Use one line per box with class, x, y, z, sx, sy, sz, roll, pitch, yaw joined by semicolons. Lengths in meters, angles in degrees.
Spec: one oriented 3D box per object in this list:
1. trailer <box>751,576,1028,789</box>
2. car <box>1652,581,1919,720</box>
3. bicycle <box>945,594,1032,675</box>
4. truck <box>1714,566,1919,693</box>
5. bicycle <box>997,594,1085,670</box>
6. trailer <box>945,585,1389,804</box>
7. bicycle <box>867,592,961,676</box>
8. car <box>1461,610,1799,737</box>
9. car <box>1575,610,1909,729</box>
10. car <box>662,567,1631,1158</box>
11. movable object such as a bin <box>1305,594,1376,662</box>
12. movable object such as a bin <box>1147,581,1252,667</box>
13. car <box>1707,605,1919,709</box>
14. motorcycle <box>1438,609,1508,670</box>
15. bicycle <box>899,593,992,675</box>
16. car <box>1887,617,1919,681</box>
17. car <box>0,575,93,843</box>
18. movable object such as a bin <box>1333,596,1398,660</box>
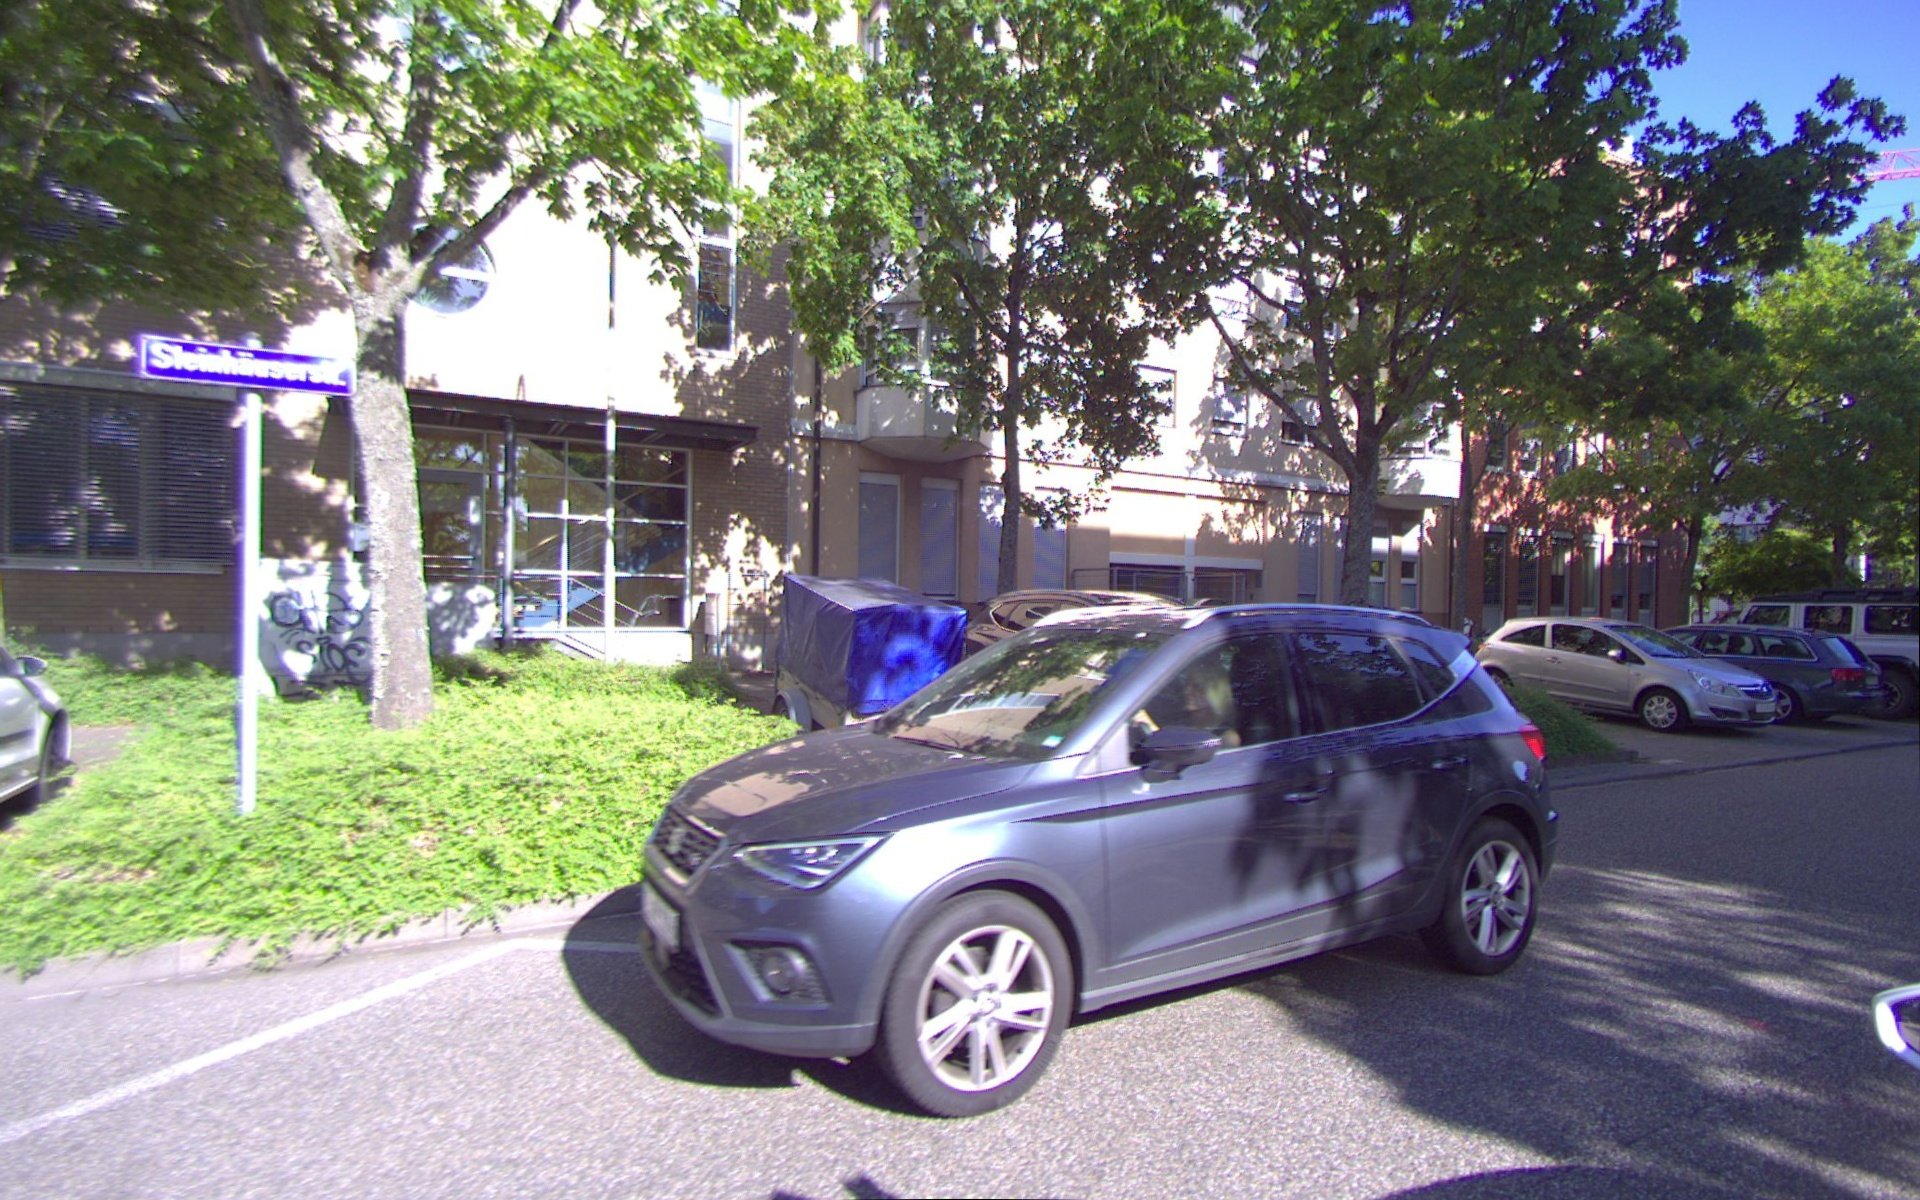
trailer;-0.794;0.657;9.785;1.691;1.710;2.713;1;1;-29
car;14.812;0.782;17.156;1.977;2.079;4.458;1;1;-31
bicycle;0.526;0.638;19.325;0.610;1.428;1.707;1;1;-43
truck;19.222;0.584;20.171;2.161;2.454;6.205;1;0;-29
bicycle;1.630;0.634;20.370;1.703;1.428;0.612;3;1;38
trailer;1.759;0.706;9.927;1.836;1.593;4.235;1;1;-33
bicycle;-0.865;0.601;18.534;1.703;1.428;0.612;3;1;38
car;9.733;0.974;14.927;1.710;1.480;3.821;1;1;-26
car;12.236;0.993;15.985;1.810;1.512;3.762;1;1;-28
car;0.920;0.716;4.373;3.953;1.531;1.771;1;0;-30
movable object such as a bin;9.507;0.683;25.091;1.431;1.641;1.134;1;0;-42
movable object such as a bin;5.351;0.523;22.514;1.645;1.820;1.590;1;0;-32
car;16.790;1.030;18.753;1.977;1.684;4.085;1;1;-31
motorcycle;13.984;1.072;27.374;2.086;1.612;0.710;1;0;-32
bicycle;-0.284;0.622;18.982;1.703;1.428;0.612;3;1;38
car;24.304;1.233;22.744;1.868;1.461;4.517;0;2;-31
car;-6.215;0.624;5.321;1.733;1.472;3.736;1;2;-30
movable object such as a bin;10.481;0.710;25.963;1.235;1.583;1.134;1;0;-42
